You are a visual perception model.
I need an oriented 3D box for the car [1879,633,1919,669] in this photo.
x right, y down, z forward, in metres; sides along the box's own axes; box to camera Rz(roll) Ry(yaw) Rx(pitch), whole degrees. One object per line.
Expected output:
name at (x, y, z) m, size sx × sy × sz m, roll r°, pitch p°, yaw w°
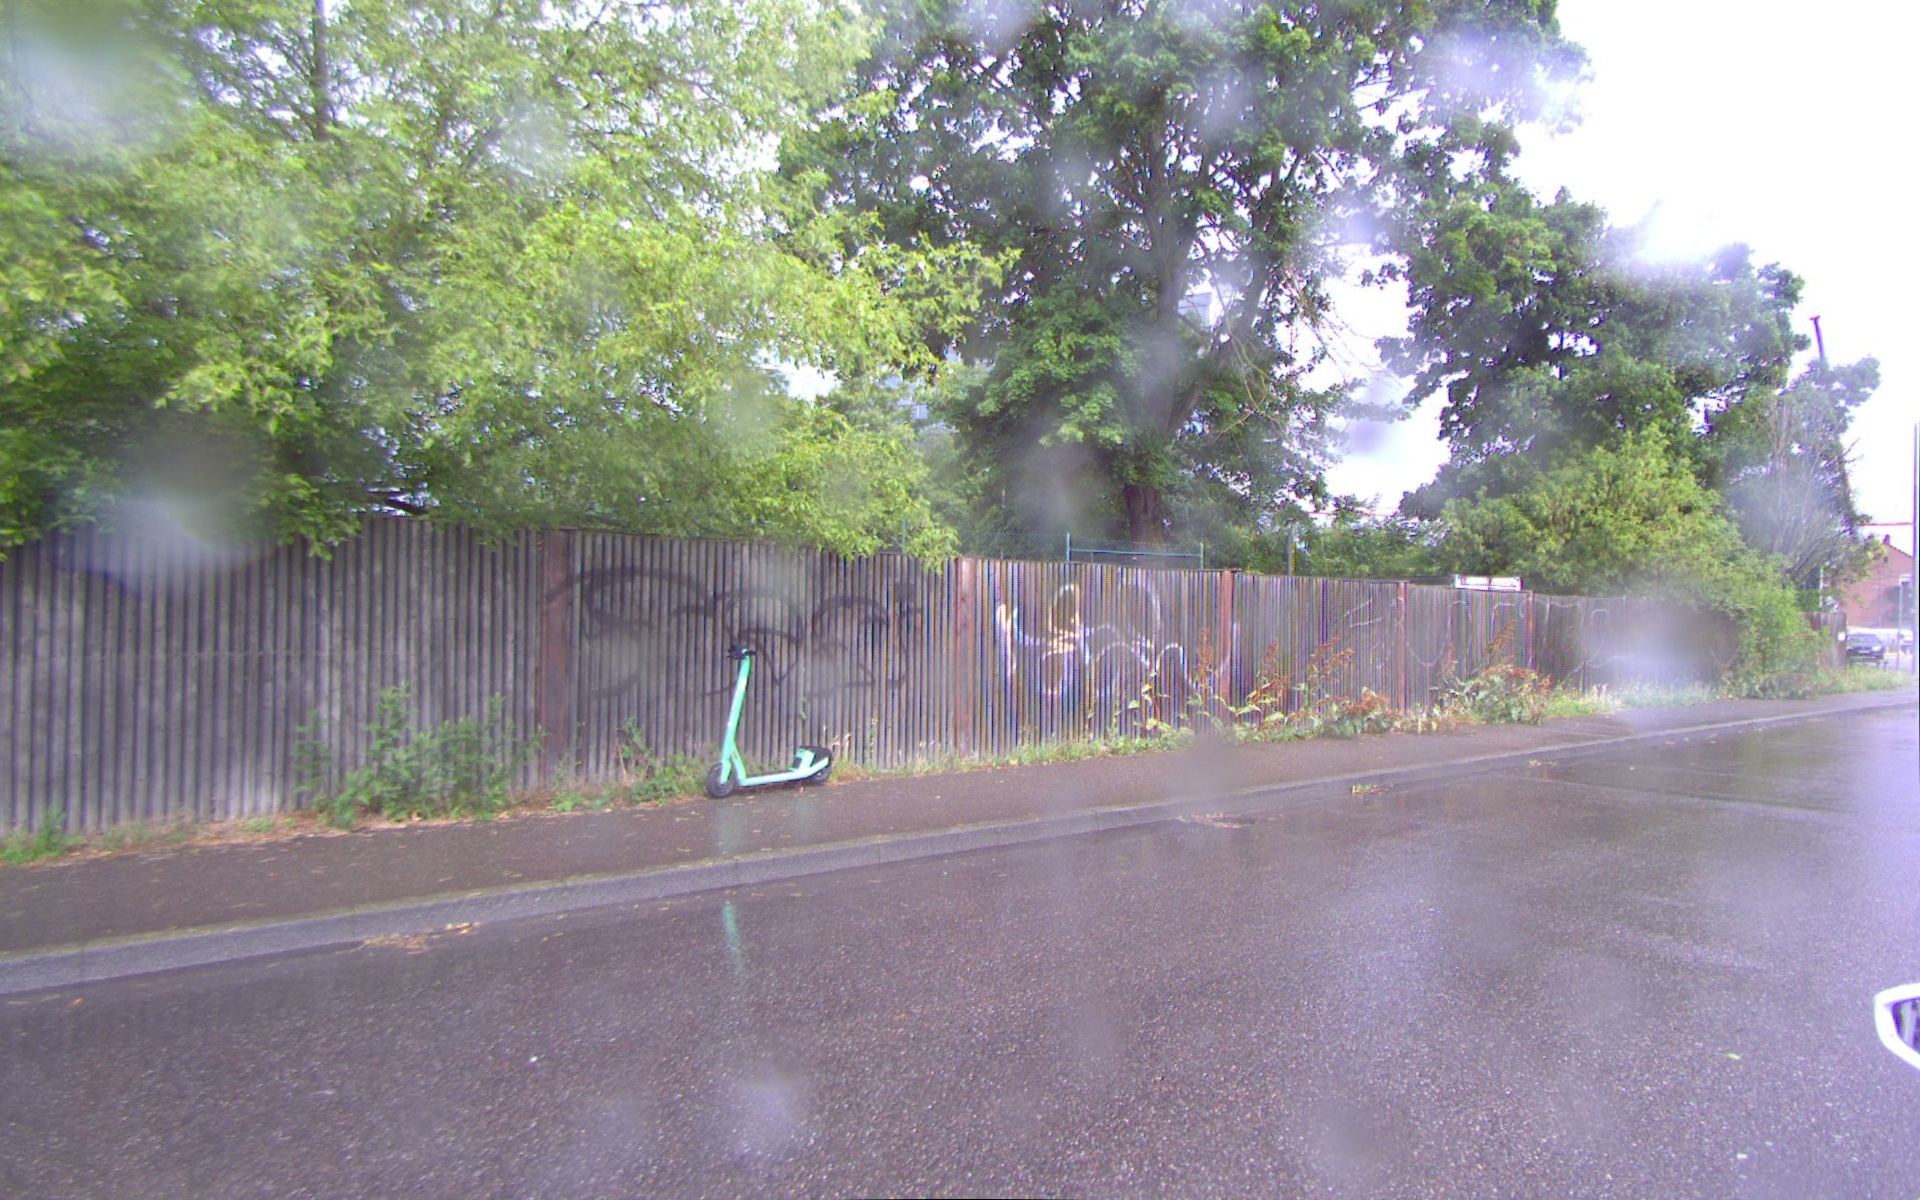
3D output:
car at (42.840, 2.227, 43.888) m, size 1.750 × 1.572 × 4.430 m, roll -1°, pitch -3°, yaw 8°

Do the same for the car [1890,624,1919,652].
car at (68.064, 2.647, 70.228) m, size 5.042 × 1.901 × 1.890 m, roll 1°, pitch -1°, yaw -12°

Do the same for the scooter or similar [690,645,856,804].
scooter or similar at (-1.504, 0.967, 8.159) m, size 1.197 × 1.178 × 0.558 m, roll 2°, pitch -1°, yaw -38°

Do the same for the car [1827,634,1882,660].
car at (53.343, 2.795, 59.974) m, size 1.848 × 1.502 × 4.168 m, roll 0°, pitch -2°, yaw 33°
